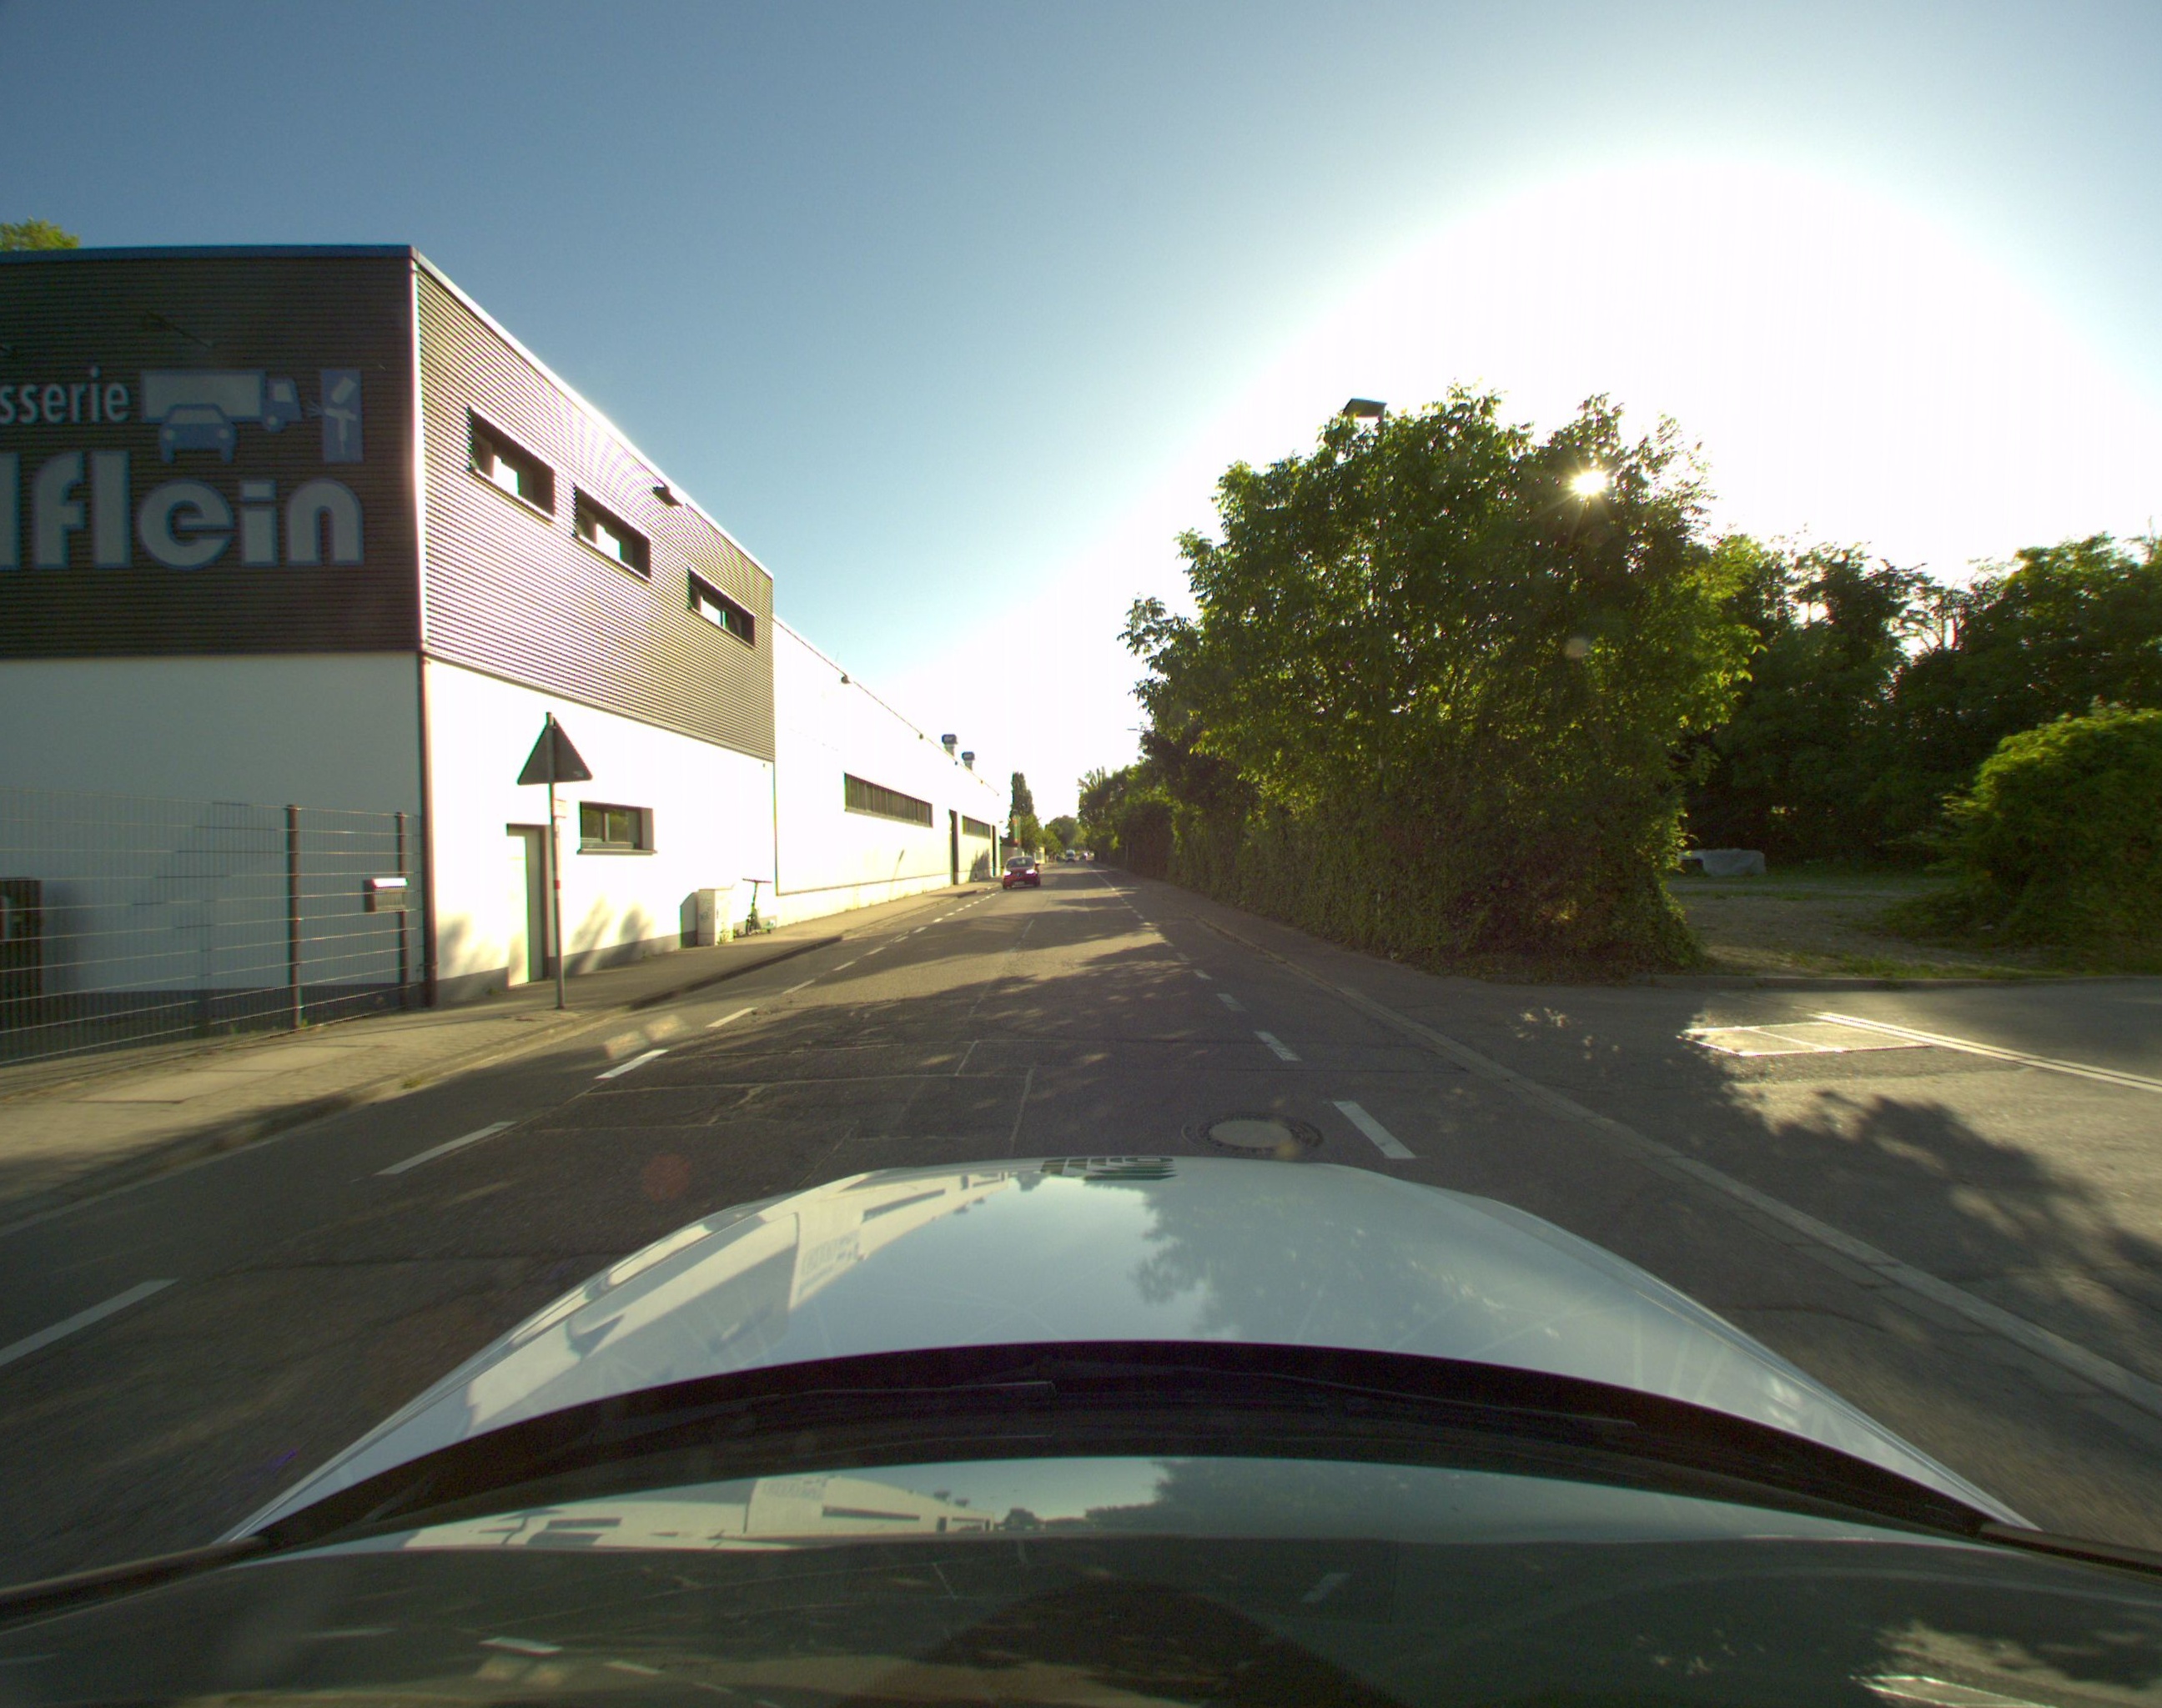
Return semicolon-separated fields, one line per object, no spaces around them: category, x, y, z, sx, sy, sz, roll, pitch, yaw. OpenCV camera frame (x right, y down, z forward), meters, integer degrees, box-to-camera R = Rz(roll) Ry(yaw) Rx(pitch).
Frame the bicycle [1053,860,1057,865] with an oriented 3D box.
bicycle;-5.782;1.821;181.839;0.687;1.034;1.350;0;0;0

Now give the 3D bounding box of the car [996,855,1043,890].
car;-3.009;0.876;40.602;1.811;1.489;4.000;-5;0;1

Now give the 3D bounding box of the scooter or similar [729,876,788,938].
scooter or similar;-6.769;1.089;17.164;0.505;1.203;1.753;2;-1;0

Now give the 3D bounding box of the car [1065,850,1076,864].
car;-2.241;0.632;177.910;2.116;2.780;5.925;-4;-1;0

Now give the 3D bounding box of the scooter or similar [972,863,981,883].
scooter or similar;-6.630;1.193;51.543;0.415;1.267;1.059;-1;0;0

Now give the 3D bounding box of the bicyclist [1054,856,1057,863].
bicyclist;-5.777;1.297;181.856;0.687;1.532;0.722;0;0;-1
